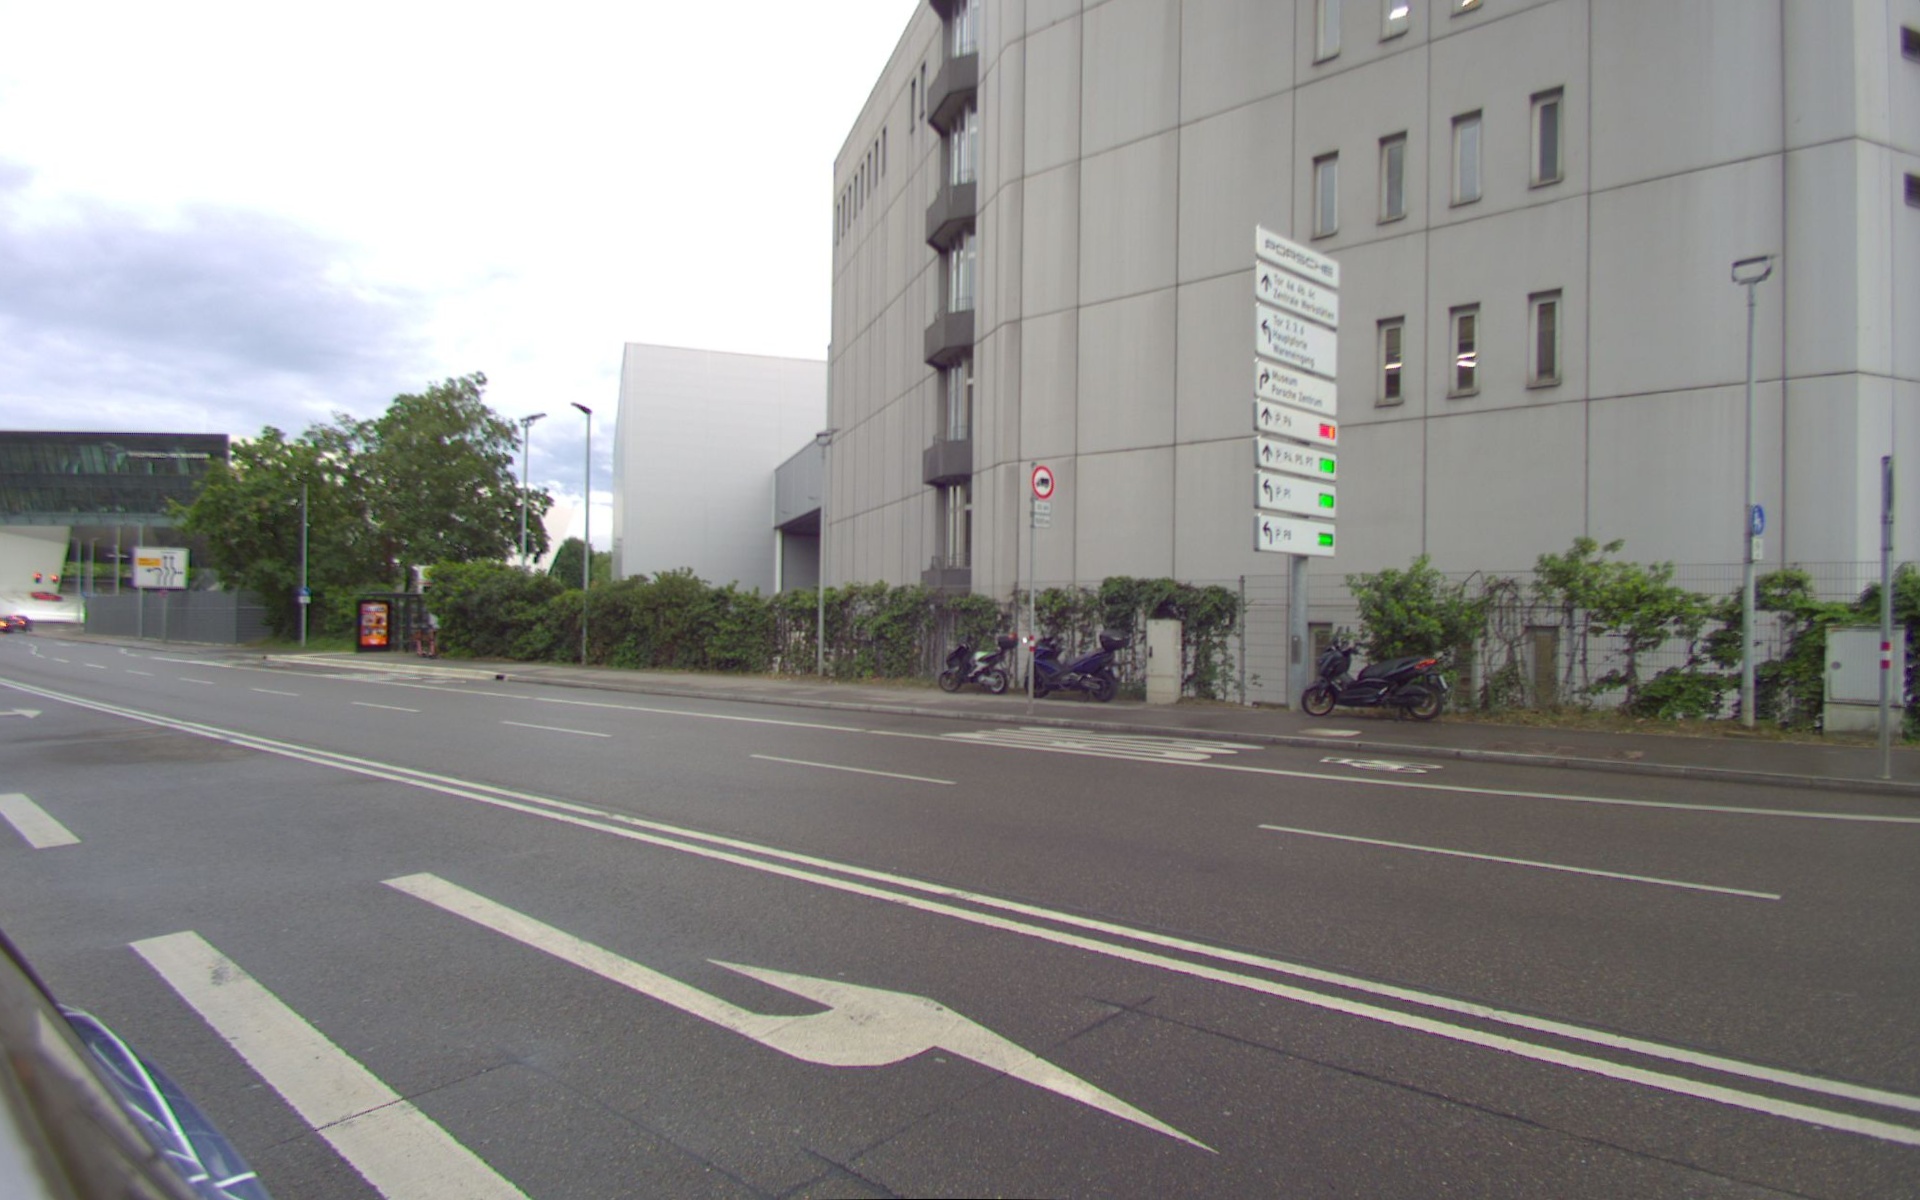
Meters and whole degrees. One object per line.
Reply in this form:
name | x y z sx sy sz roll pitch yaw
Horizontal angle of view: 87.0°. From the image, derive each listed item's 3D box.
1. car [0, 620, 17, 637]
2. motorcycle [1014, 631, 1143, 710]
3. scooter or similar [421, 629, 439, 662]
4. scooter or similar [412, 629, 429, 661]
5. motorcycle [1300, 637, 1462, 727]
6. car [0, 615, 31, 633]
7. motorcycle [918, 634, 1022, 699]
car | -85.037 2.464 89.054 2.233 1.488 4.059 1 -1 -32
motorcycle | 2.174 1.272 18.851 2.368 1.358 0.776 -1 -2 40
scooter or similar | -19.390 1.656 37.026 0.373 1.190 1.380 1 -2 -36
scooter or similar | -20.289 1.683 38.066 0.383 1.189 1.253 1 -2 -36
motorcycle | 6.390 1.204 15.441 2.156 1.257 0.777 -1 -2 40
car | -88.874 2.278 94.864 1.834 1.663 3.799 1 -2 -30
motorcycle | 0.185 1.329 20.771 2.156 1.260 0.777 -1 -2 40
